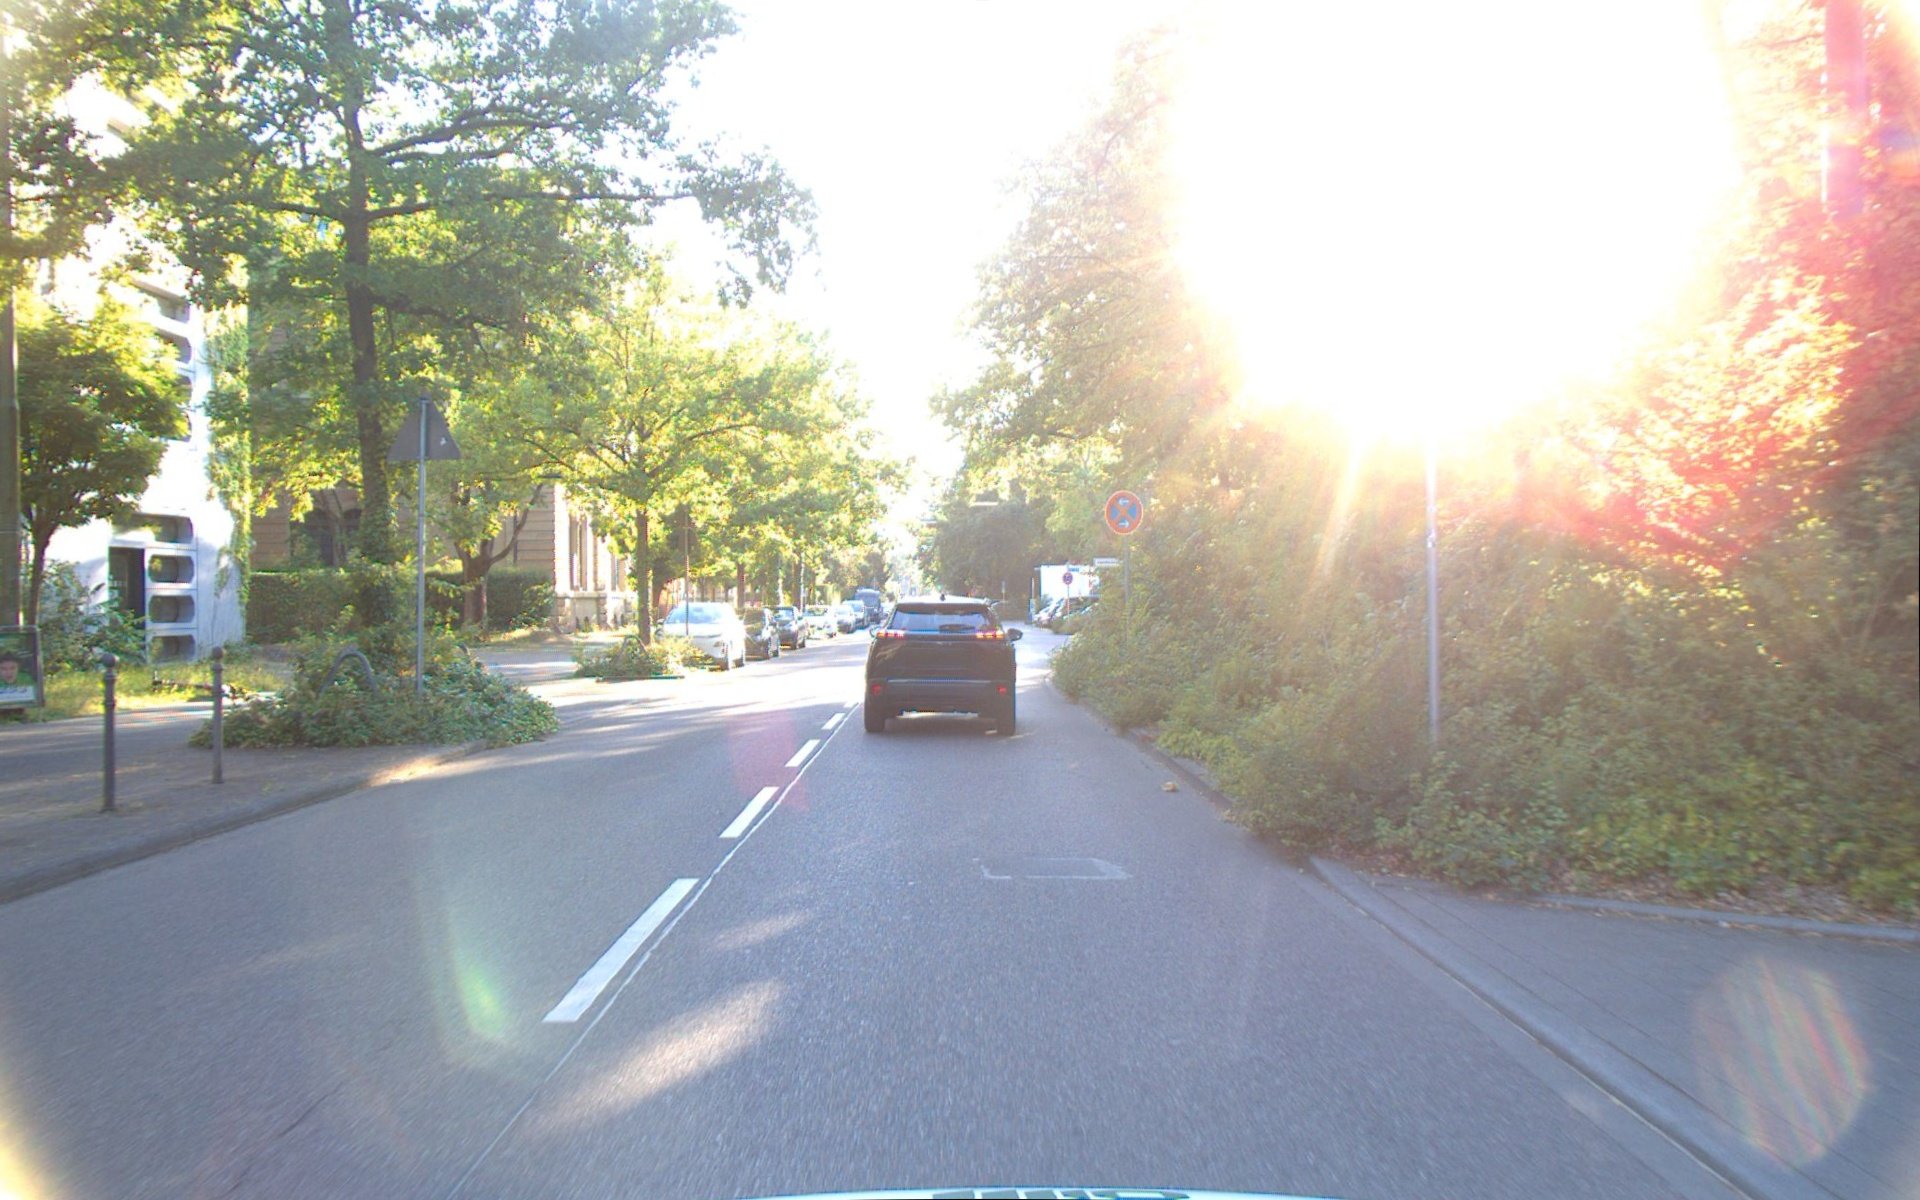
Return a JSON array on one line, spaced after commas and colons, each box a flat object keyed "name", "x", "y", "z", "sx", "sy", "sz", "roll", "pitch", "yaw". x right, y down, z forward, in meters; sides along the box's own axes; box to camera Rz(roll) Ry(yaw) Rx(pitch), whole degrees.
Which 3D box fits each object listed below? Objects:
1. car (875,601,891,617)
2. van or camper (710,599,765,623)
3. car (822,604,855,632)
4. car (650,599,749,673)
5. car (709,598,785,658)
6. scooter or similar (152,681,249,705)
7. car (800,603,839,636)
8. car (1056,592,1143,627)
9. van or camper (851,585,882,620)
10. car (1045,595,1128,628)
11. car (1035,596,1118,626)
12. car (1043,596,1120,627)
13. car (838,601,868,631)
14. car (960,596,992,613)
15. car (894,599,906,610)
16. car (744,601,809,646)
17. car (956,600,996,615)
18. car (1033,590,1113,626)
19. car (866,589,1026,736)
[{"name": "car", "x": -7.668, "y": 0.900, "z": 164.586, "sx": 1.581, "sy": 1.541, "sz": 3.710, "roll": -3, "pitch": 0, "yaw": -3}, {"name": "van or camper", "x": -20.302, "y": 0.981, "z": 151.085, "sx": 4.670, "sy": 2.020, "sz": 2.001, "roll": -1, "pitch": 4, "yaw": 1}, {"name": "car", "x": -6.752, "y": 0.976, "z": 92.040, "sx": 1.585, "sy": 1.522, "sz": 4.376, "roll": 0, "pitch": 0, "yaw": -1}, {"name": "car", "x": -6.157, "y": 0.818, "z": 39.458, "sx": 1.767, "sy": 1.644, "sz": 4.146, "roll": -1, "pitch": 0, "yaw": -1}, {"name": "car", "x": -6.122, "y": 0.787, "z": 47.927, "sx": 1.744, "sy": 1.644, "sz": 4.146, "roll": 0, "pitch": 0, "yaw": -1}, {"name": "scooter or similar", "x": -11.425, "y": 1.393, "z": 24.922, "sx": 1.143, "sy": 0.281, "sz": 1.245, "roll": 0, "pitch": 0, "yaw": -16}, {"name": "car", "x": -6.712, "y": 0.903, "z": 79.287, "sx": 1.585, "sy": 1.522, "sz": 3.923, "roll": 0, "pitch": 0, "yaw": -1}, {"name": "car", "x": 7.202, "y": 0.511, "z": 85.888, "sx": 4.275, "sy": 1.581, "sz": 1.727, "roll": -3, "pitch": 0, "yaw": -2}, {"name": "van or camper", "x": -7.276, "y": 0.212, "z": 129.343, "sx": 2.184, "sy": 2.589, "sz": 7.077, "roll": 1, "pitch": 0, "yaw": -2}, {"name": "car", "x": 6.930, "y": 0.641, "z": 90.944, "sx": 4.275, "sy": 1.581, "sz": 1.875, "roll": -3, "pitch": 0, "yaw": -2}, {"name": "car", "x": 7.126, "y": 0.673, "z": 101.444, "sx": 4.827, "sy": 1.581, "sz": 1.915, "roll": -3, "pitch": 0, "yaw": -2}, {"name": "car", "x": 7.100, "y": 0.654, "z": 96.651, "sx": 4.275, "sy": 1.564, "sz": 1.920, "roll": -3, "pitch": 0, "yaw": -2}, {"name": "car", "x": -7.069, "y": 1.058, "z": 109.669, "sx": 1.741, "sy": 1.898, "sz": 4.331, "roll": 2, "pitch": 0, "yaw": -1}, {"name": "car", "x": 2.016, "y": 0.587, "z": 212.003, "sx": 3.910, "sy": 2.126, "sz": 1.756, "roll": 0, "pitch": 0, "yaw": -6}, {"name": "car", "x": -9.136, "y": 0.649, "z": 252.340, "sx": 1.861, "sy": 1.601, "sz": 3.999, "roll": 0, "pitch": 0, "yaw": -1}, {"name": "car", "x": -6.487, "y": 0.818, "z": 58.854, "sx": 1.765, "sy": 1.537, "sz": 4.862, "roll": 0, "pitch": 0, "yaw": 0}, {"name": "car", "x": 1.729, "y": 0.847, "z": 180.175, "sx": 4.158, "sy": 1.474, "sz": 2.020, "roll": -2, "pitch": 0, "yaw": -3}, {"name": "car", "x": 7.076, "y": 0.494, "z": 103.763, "sx": 4.755, "sy": 1.949, "sz": 1.915, "roll": -3, "pitch": 0, "yaw": -2}, {"name": "car", "x": -0.180, "y": 0.673, "z": 20.075, "sx": 1.735, "sy": 1.596, "sz": 4.108, "roll": 0, "pitch": 0, "yaw": -1}]
